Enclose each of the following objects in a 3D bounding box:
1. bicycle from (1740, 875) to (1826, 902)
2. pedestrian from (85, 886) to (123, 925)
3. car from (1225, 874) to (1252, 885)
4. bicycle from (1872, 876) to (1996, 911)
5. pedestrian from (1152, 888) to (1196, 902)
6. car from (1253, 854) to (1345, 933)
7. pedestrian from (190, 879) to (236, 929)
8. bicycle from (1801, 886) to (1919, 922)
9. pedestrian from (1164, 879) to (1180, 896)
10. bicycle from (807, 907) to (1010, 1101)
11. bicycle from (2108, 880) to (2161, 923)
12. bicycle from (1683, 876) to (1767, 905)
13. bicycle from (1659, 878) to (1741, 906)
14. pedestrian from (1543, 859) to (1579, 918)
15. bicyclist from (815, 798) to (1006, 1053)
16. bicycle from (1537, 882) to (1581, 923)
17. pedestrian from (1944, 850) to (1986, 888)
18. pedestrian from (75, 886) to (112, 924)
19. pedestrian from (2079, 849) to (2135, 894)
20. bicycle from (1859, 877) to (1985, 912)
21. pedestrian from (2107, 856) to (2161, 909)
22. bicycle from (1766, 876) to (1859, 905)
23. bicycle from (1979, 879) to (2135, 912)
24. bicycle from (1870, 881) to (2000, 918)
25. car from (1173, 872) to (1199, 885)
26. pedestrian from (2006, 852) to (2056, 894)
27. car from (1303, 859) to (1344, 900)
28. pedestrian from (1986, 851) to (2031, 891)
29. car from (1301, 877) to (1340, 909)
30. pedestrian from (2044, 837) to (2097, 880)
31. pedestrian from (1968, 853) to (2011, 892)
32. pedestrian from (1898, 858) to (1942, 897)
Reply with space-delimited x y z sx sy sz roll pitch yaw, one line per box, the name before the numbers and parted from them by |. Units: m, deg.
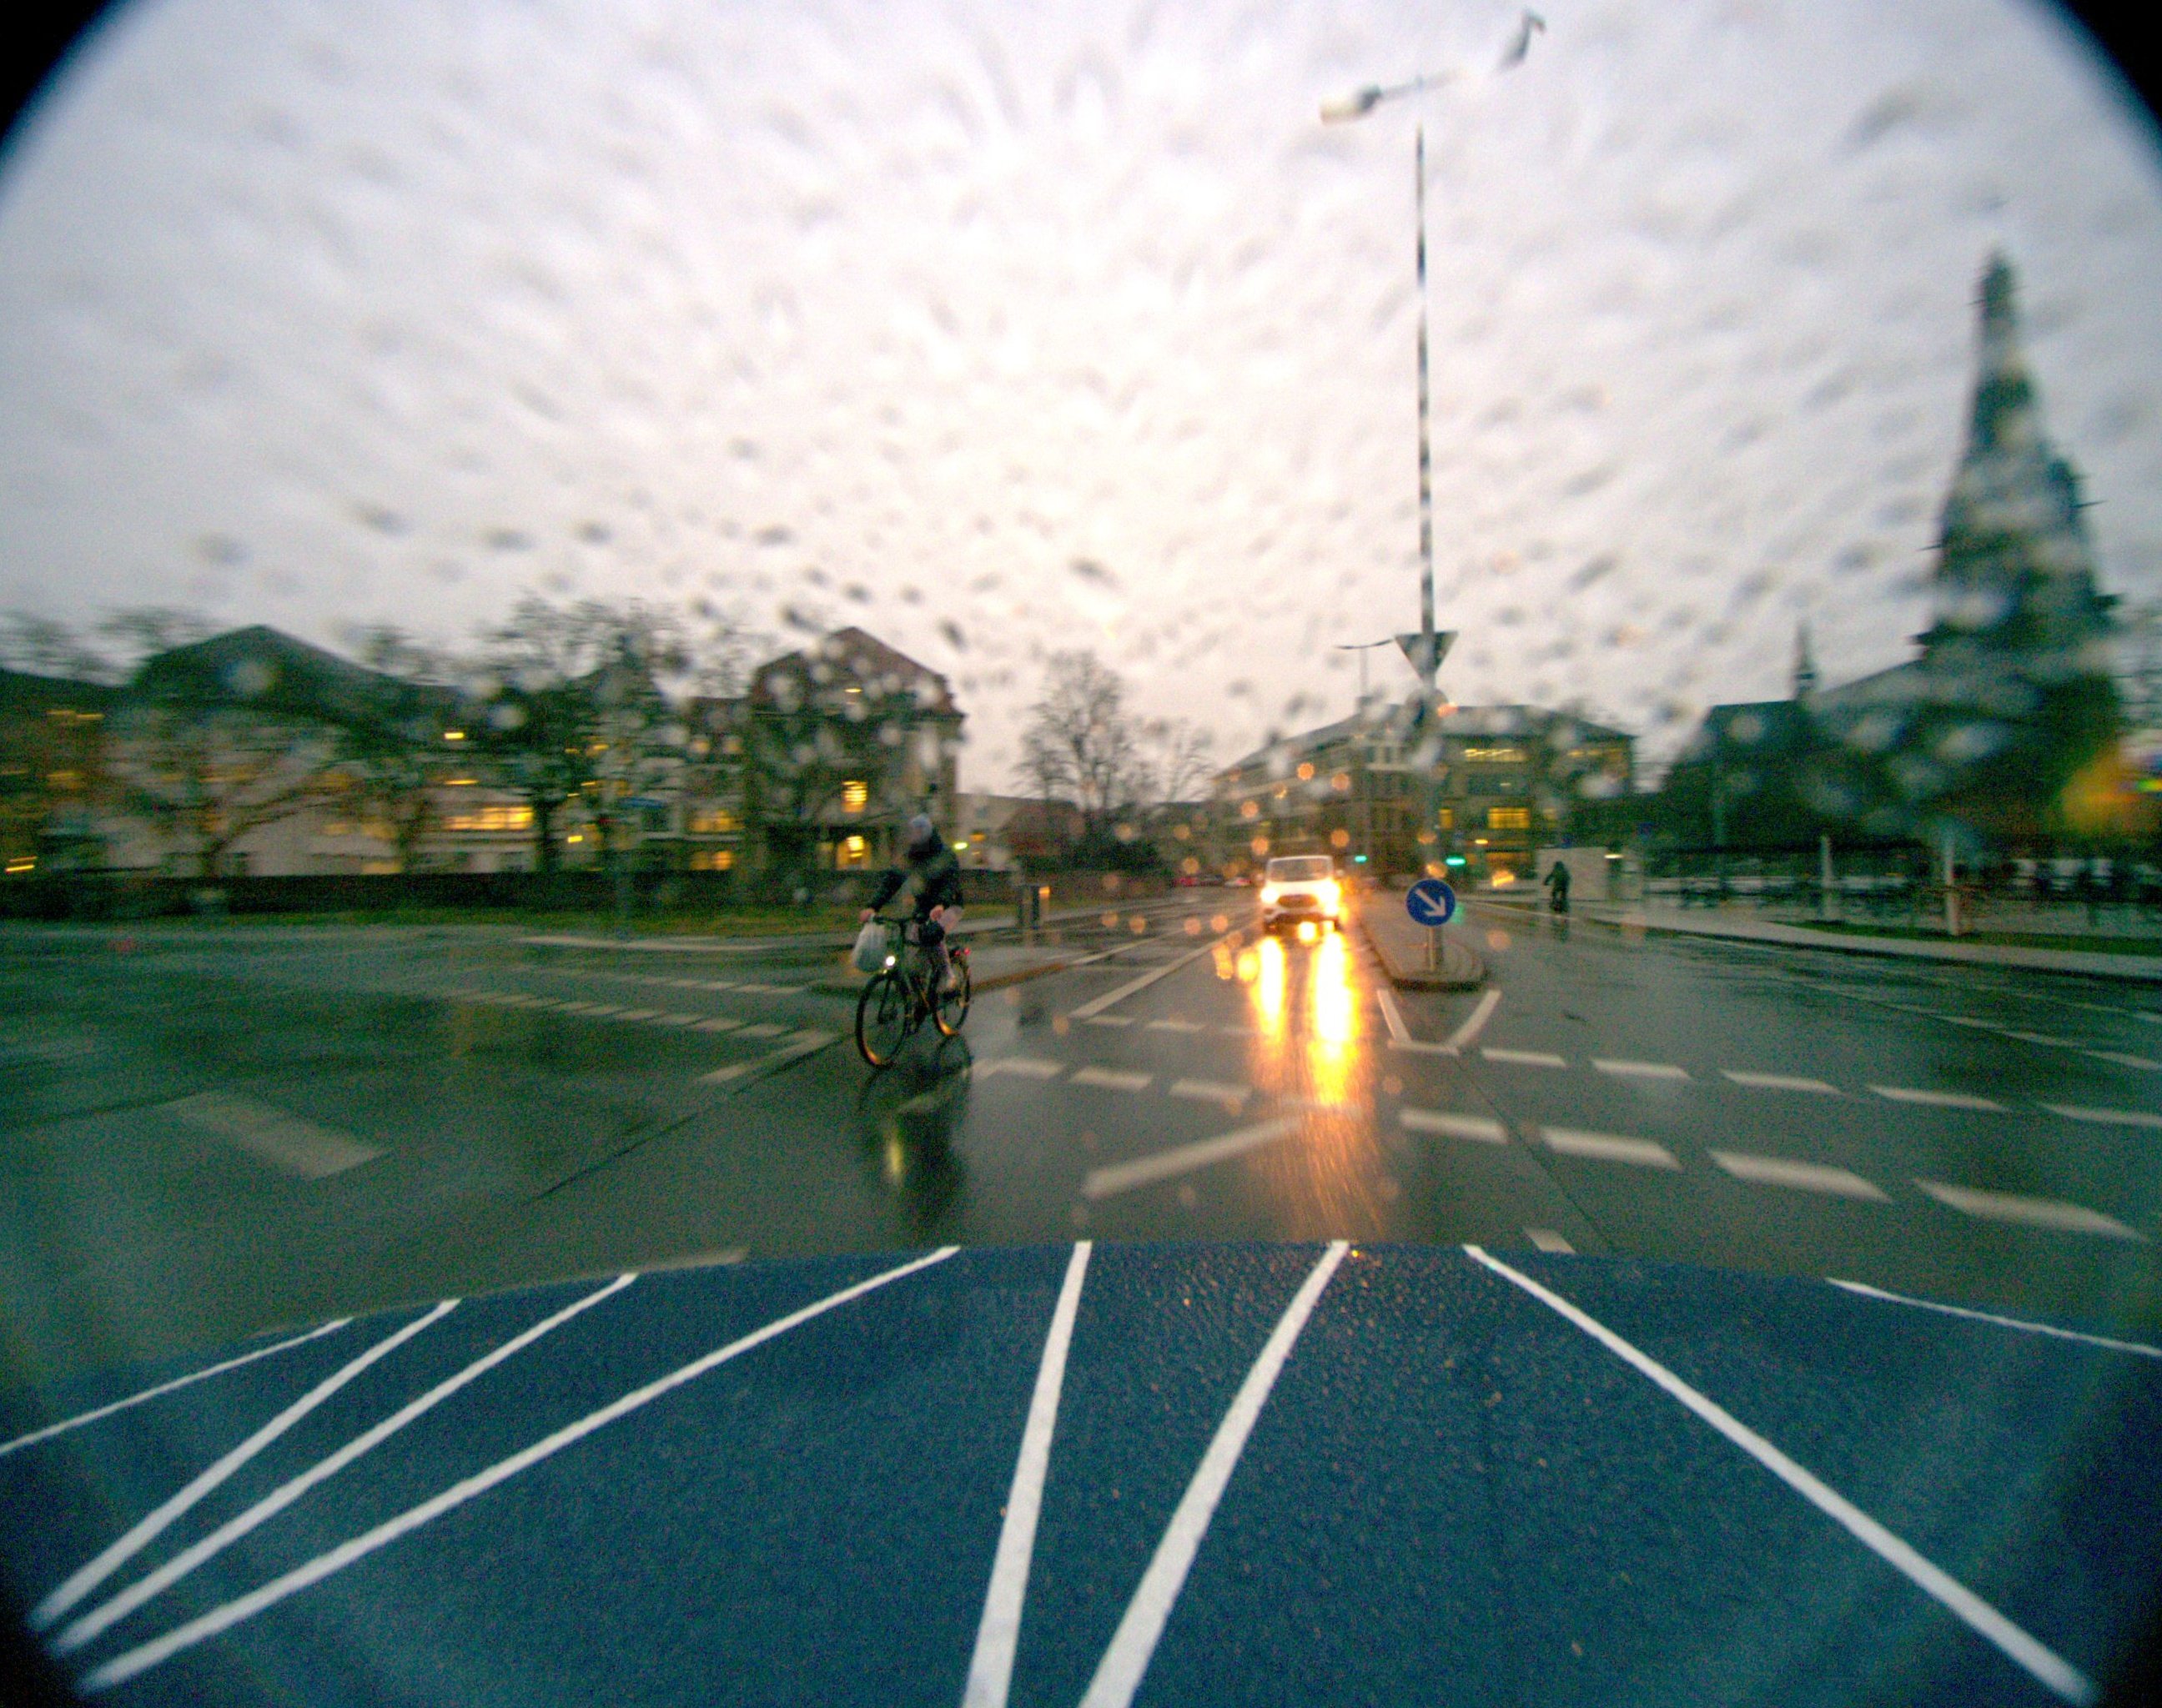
bicycle | 30.183 1.488 32.746 0.647 1.097 2.748 -2 -2 -16
pedestrian | -46.231 2.428 35.948 0.945 1.819 0.810 -1 -1 19
car | 21.744 3.521 105.024 1.890 1.520 3.994 0 -1 -20
bicycle | 29.167 1.332 26.075 0.647 1.098 2.746 -2 -1 -22
pedestrian | 7.064 3.112 57.802 3.100 0.924 0.948 -2 -2 -11
car | 6.296 1.075 21.602 2.134 1.909 5.025 -3 -2 19
pedestrian | -32.370 1.845 28.355 0.945 1.819 0.810 -1 -1 19
bicycle | 25.790 1.648 25.248 0.647 1.097 2.749 -3 -2 -13
pedestrian | 6.911 2.559 57.815 0.983 1.308 0.814 0 -1 -11
bicycle | -1.323 1.119 6.306 0.793 1.215 1.906 -2 0 16
bicycle | 28.975 1.245 19.672 0.608 1.098 2.747 -2 -1 -19
bicycle | 26.585 1.519 31.457 0.647 1.097 2.749 -2 -2 -13
bicycle | 25.406 1.572 31.277 0.647 1.097 2.749 -2 -2 -13
pedestrian | 14.445 1.029 22.873 0.716 1.723 0.984 0 -1 19
bicyclist | -1.354 0.535 6.301 1.025 1.872 1.237 -2 0 16
bicycle | 14.483 1.452 23.055 0.623 1.169 1.876 1 -1 16
pedestrian | 43.513 0.740 37.422 1.033 1.839 0.850 -1 -1 19
pedestrian | -47.509 2.435 36.559 0.945 1.819 0.810 -1 -1 19
pedestrian | 44.000 0.758 32.590 1.033 1.838 0.850 -4 -2 18
bicycle | 28.442 1.394 25.784 0.647 1.097 2.747 -2 -2 -22
pedestrian | 35.082 0.926 25.217 0.815 1.671 0.849 -5 0 18
bicycle | 29.466 1.467 30.686 0.647 1.097 2.749 -2 -2 -13
bicycle | 33.207 1.370 25.967 0.795 1.043 3.190 0 -1 -17
bicycle | 27.236 1.443 24.338 0.647 1.097 2.749 -3 -2 -13
car | 16.734 3.863 121.475 2.144 1.999 4.563 0 -2 -22
pedestrian | 43.747 0.873 34.995 1.033 1.838 0.850 -4 -2 18
car | 16.305 1.727 51.238 2.343 2.502 5.877 -3 -2 17
pedestrian | 43.366 0.812 35.533 1.033 1.839 0.804 0 -1 19
car | 12.892 2.040 40.751 1.752 1.494 4.324 -4 -2 19
pedestrian | 44.179 0.214 33.926 1.033 1.838 0.849 -4 -2 17
pedestrian | 43.566 0.905 36.448 1.033 1.839 0.850 -1 -1 19
pedestrian | 42.250 1.190 38.268 1.048 1.838 0.850 -6 -3 18
